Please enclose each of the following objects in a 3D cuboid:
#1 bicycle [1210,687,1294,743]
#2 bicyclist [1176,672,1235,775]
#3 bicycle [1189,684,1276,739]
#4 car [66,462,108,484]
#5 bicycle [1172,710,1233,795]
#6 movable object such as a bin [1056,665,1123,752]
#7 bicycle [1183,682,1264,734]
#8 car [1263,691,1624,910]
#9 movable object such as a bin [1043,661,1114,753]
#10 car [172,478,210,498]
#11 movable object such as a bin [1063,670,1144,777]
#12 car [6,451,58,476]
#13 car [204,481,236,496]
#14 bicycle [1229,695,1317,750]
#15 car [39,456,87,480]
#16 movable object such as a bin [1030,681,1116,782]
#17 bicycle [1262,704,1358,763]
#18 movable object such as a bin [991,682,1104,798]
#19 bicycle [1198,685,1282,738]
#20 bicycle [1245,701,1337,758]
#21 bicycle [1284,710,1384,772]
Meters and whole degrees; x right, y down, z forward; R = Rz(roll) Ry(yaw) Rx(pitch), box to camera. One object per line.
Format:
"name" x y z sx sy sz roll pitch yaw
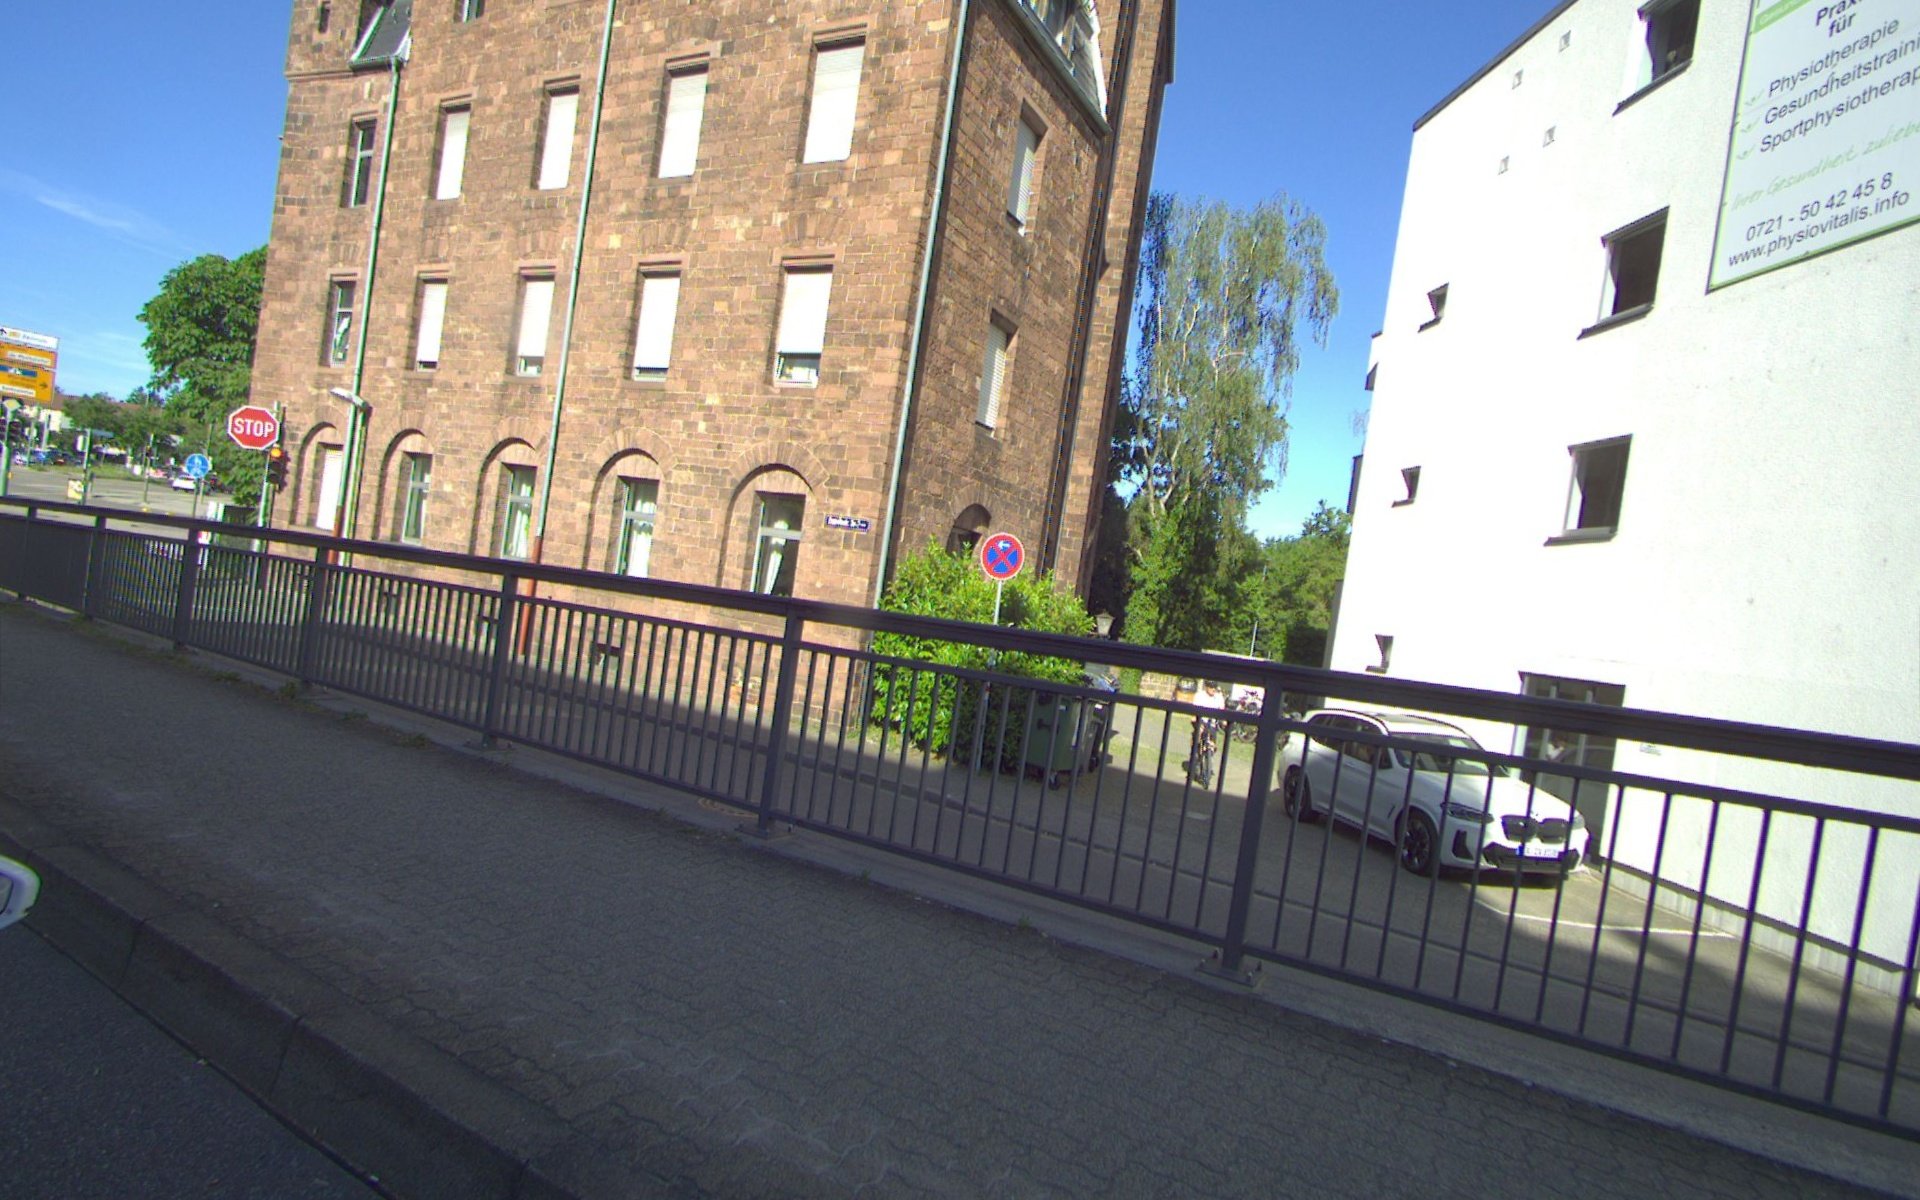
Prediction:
"bicycle" 7.664 3.024 26.446 1.889 1.174 0.664 8 1 -6
"bicyclist" 4.214 2.104 17.306 0.675 1.627 0.697 9 0 8
"bicycle" 7.402 3.026 27.379 2.075 1.174 0.664 8 1 -9
"car" -86.823 -12.621 100.105 1.860 1.598 3.978 8 1 -22
"bicycle" 4.130 2.567 17.226 0.677 1.154 1.840 9 -1 8
"movable object such as a bin" 2.641 2.183 20.457 1.009 1.539 1.007 9 0 14
"bicycle" 7.660 3.135 29.264 2.075 1.174 0.664 8 1 -9
"car" 5.958 2.403 13.181 1.814 1.707 4.521 8 0 -9
"movable object such as a bin" 2.280 2.017 19.268 1.009 1.539 1.007 9 0 14
"car" -67.639 -9.866 88.549 1.979 1.382 4.277 8 2 -30
"movable object such as a bin" 2.396 2.016 16.662 1.009 1.539 1.007 9 0 14
"car" -79.895 -11.731 86.652 1.860 1.598 3.978 8 1 -22
"car" -80.101 -12.057 108.904 1.864 1.311 4.561 8 2 -26
"bicycle" 7.865 3.081 25.279 1.889 1.065 0.664 8 1 -6
"car" -82.313 -12.094 92.354 1.860 1.598 3.978 8 1 -22
"movable object such as a bin" 1.755 1.999 15.481 1.009 1.307 1.007 10 0 14
"bicycle" 8.125 3.093 23.363 1.889 1.065 0.664 8 1 -6
"movable object such as a bin" 1.187 1.851 13.518 1.011 1.307 1.005 10 0 29
"bicycle" 7.904 3.133 28.412 2.075 1.174 0.664 8 1 -9
"bicycle" 7.970 3.113 24.251 1.889 1.065 0.664 8 1 -6
"bicycle" 8.329 3.138 22.449 1.889 1.065 0.664 8 1 -6
